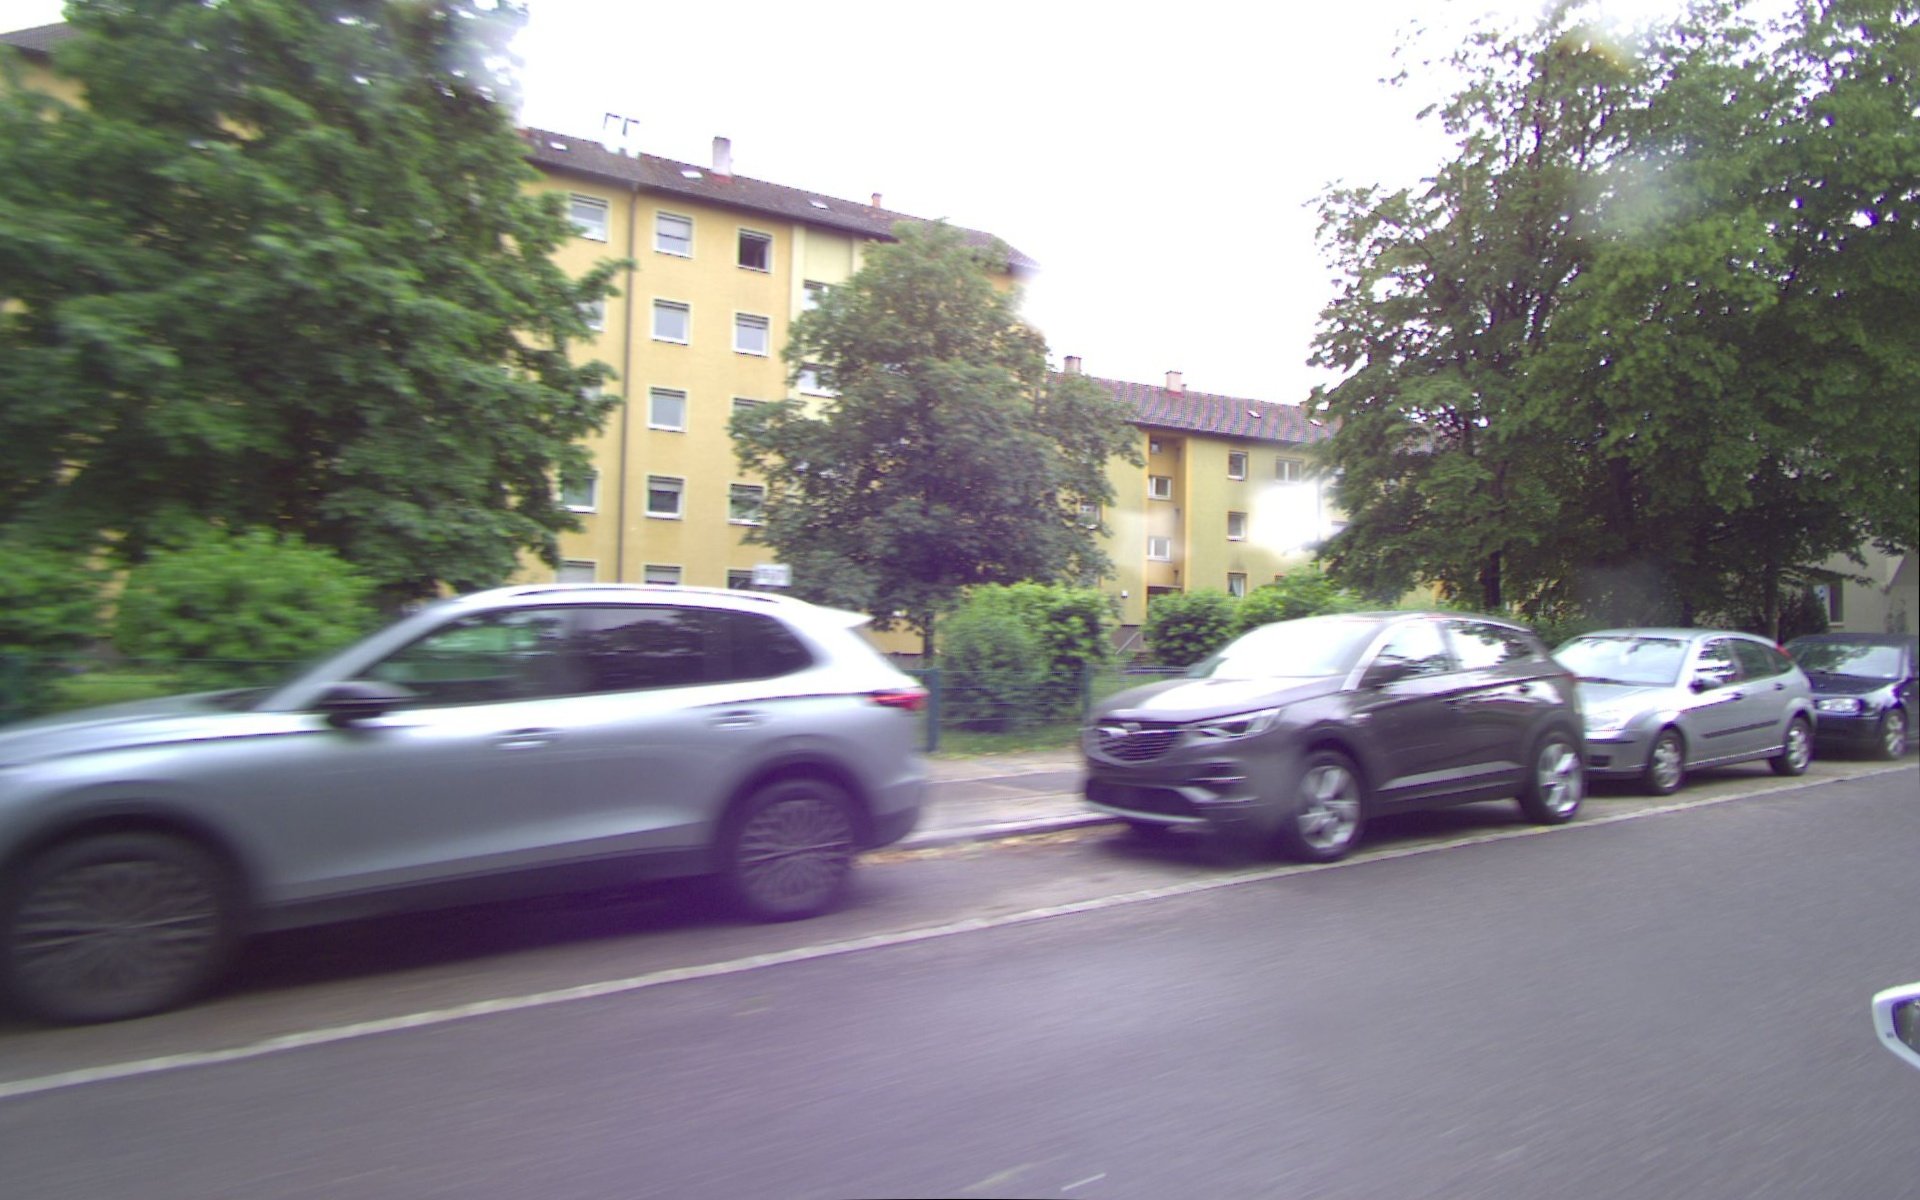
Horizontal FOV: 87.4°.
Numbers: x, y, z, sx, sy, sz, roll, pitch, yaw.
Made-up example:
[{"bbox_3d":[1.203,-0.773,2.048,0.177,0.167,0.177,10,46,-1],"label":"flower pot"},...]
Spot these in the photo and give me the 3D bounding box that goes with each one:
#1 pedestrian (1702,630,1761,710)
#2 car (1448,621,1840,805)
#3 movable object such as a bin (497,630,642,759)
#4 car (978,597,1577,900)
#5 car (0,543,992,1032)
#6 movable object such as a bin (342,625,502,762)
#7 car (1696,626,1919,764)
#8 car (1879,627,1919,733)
[{"bbox_3d":[16.666,1.505,21.696,1.009,1.641,0.584,4,0,-29],"label":"pedestrian"},{"bbox_3d":[7.042,1.026,10.269,4.073,1.528,1.665,2,-1,-29],"label":"car"},{"bbox_3d":[-4.616,1.069,11.846,1.461,1.398,1.231,1,-2,-28],"label":"movable object such as a bin"},{"bbox_3d":[2.386,0.892,7.282,4.192,1.612,1.855,2,-4,-32],"label":"car"},{"bbox_3d":[-2.223,0.733,5.091,4.509,1.678,1.727,1,-5,-29],"label":"car"},{"bbox_3d":[-5.933,0.987,11.157,1.461,1.398,1.231,1,-2,-28],"label":"movable object such as a bin"},{"bbox_3d":[11.318,1.151,12.817,3.828,1.527,1.665,1,-4,-30],"label":"car"},{"bbox_3d":[16.084,1.197,15.529,3.972,1.557,1.640,2,-5,-31],"label":"car"}]
